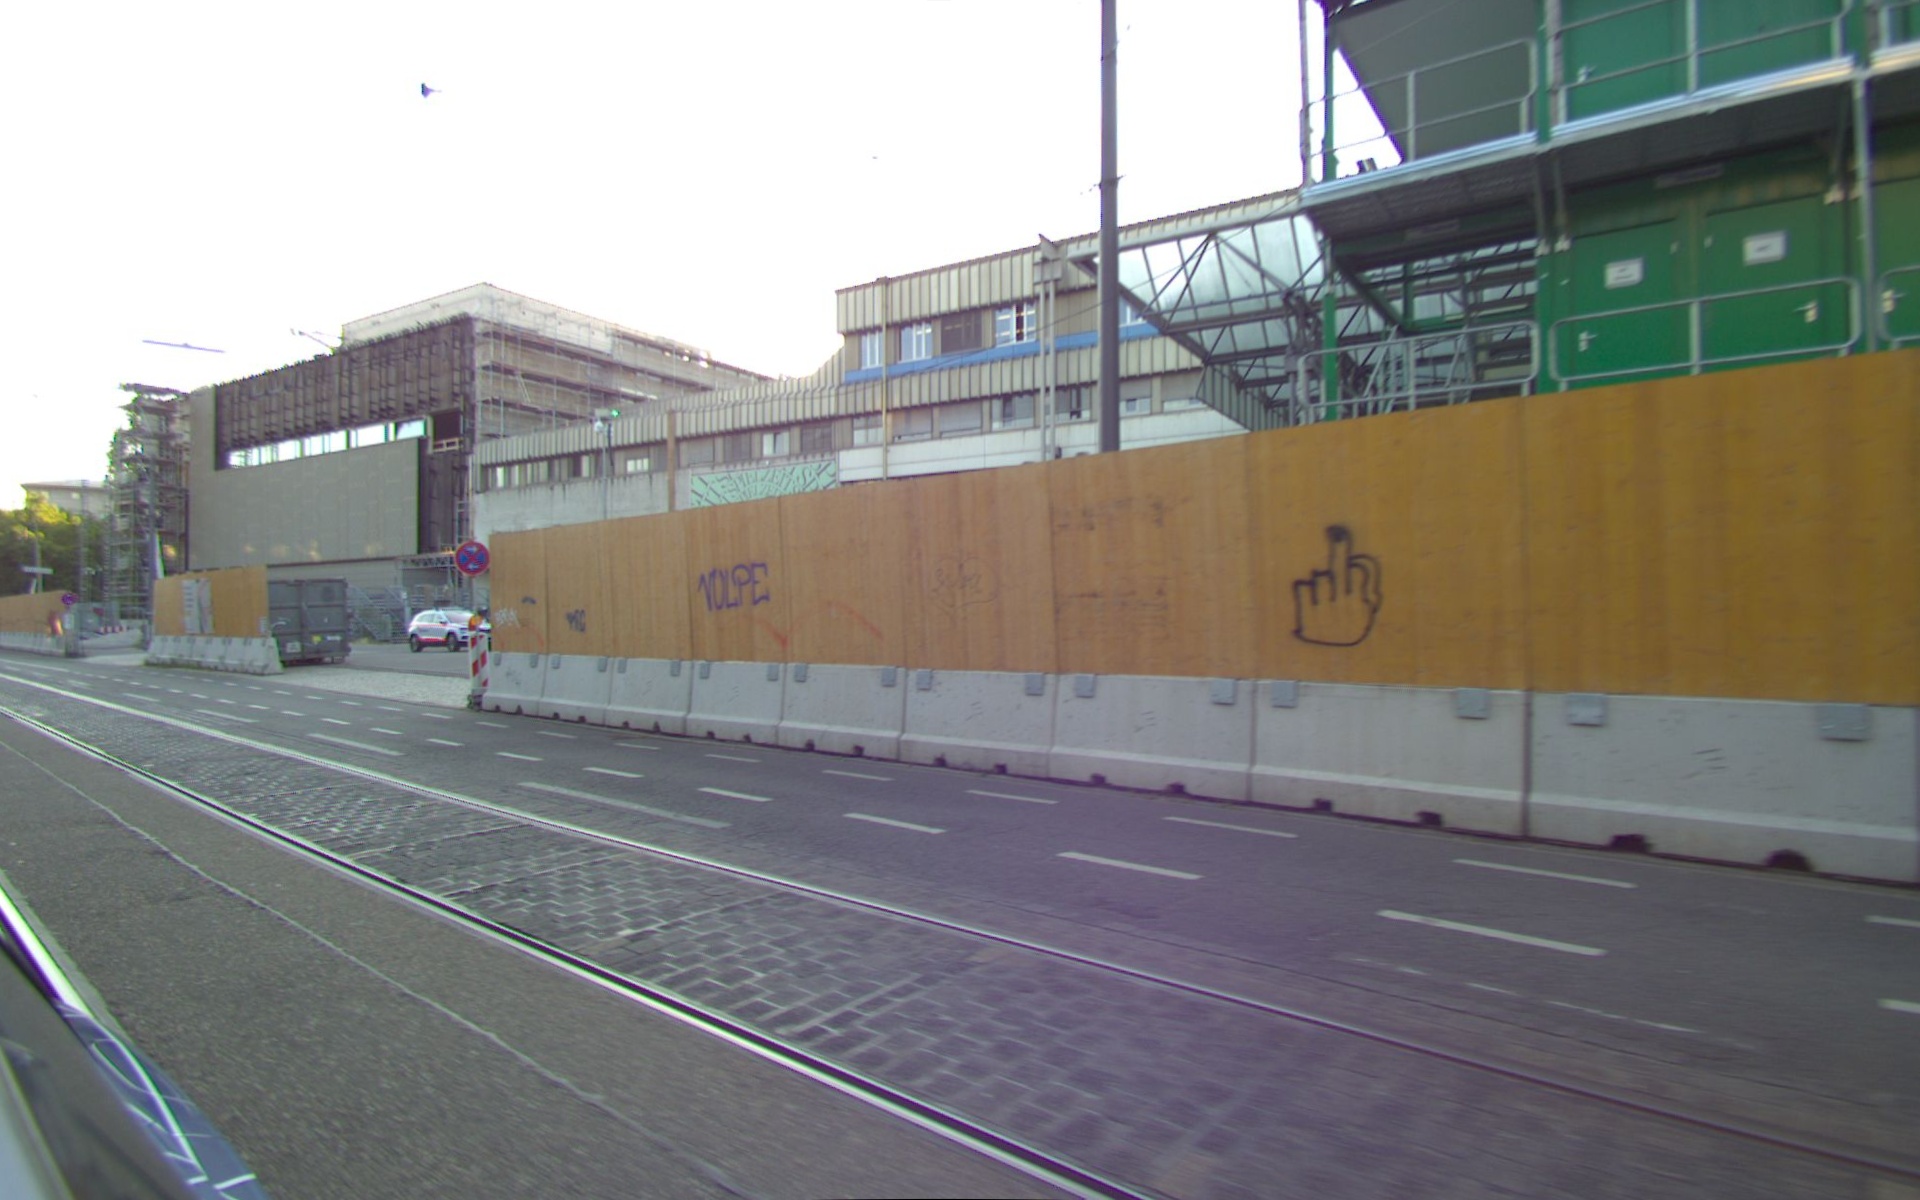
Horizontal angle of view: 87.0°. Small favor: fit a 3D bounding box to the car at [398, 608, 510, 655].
[{"bbox_3d":[-19.457,1.194,38.887,4.267,1.676,1.977,-1,-1,33],"label":"car"}]
